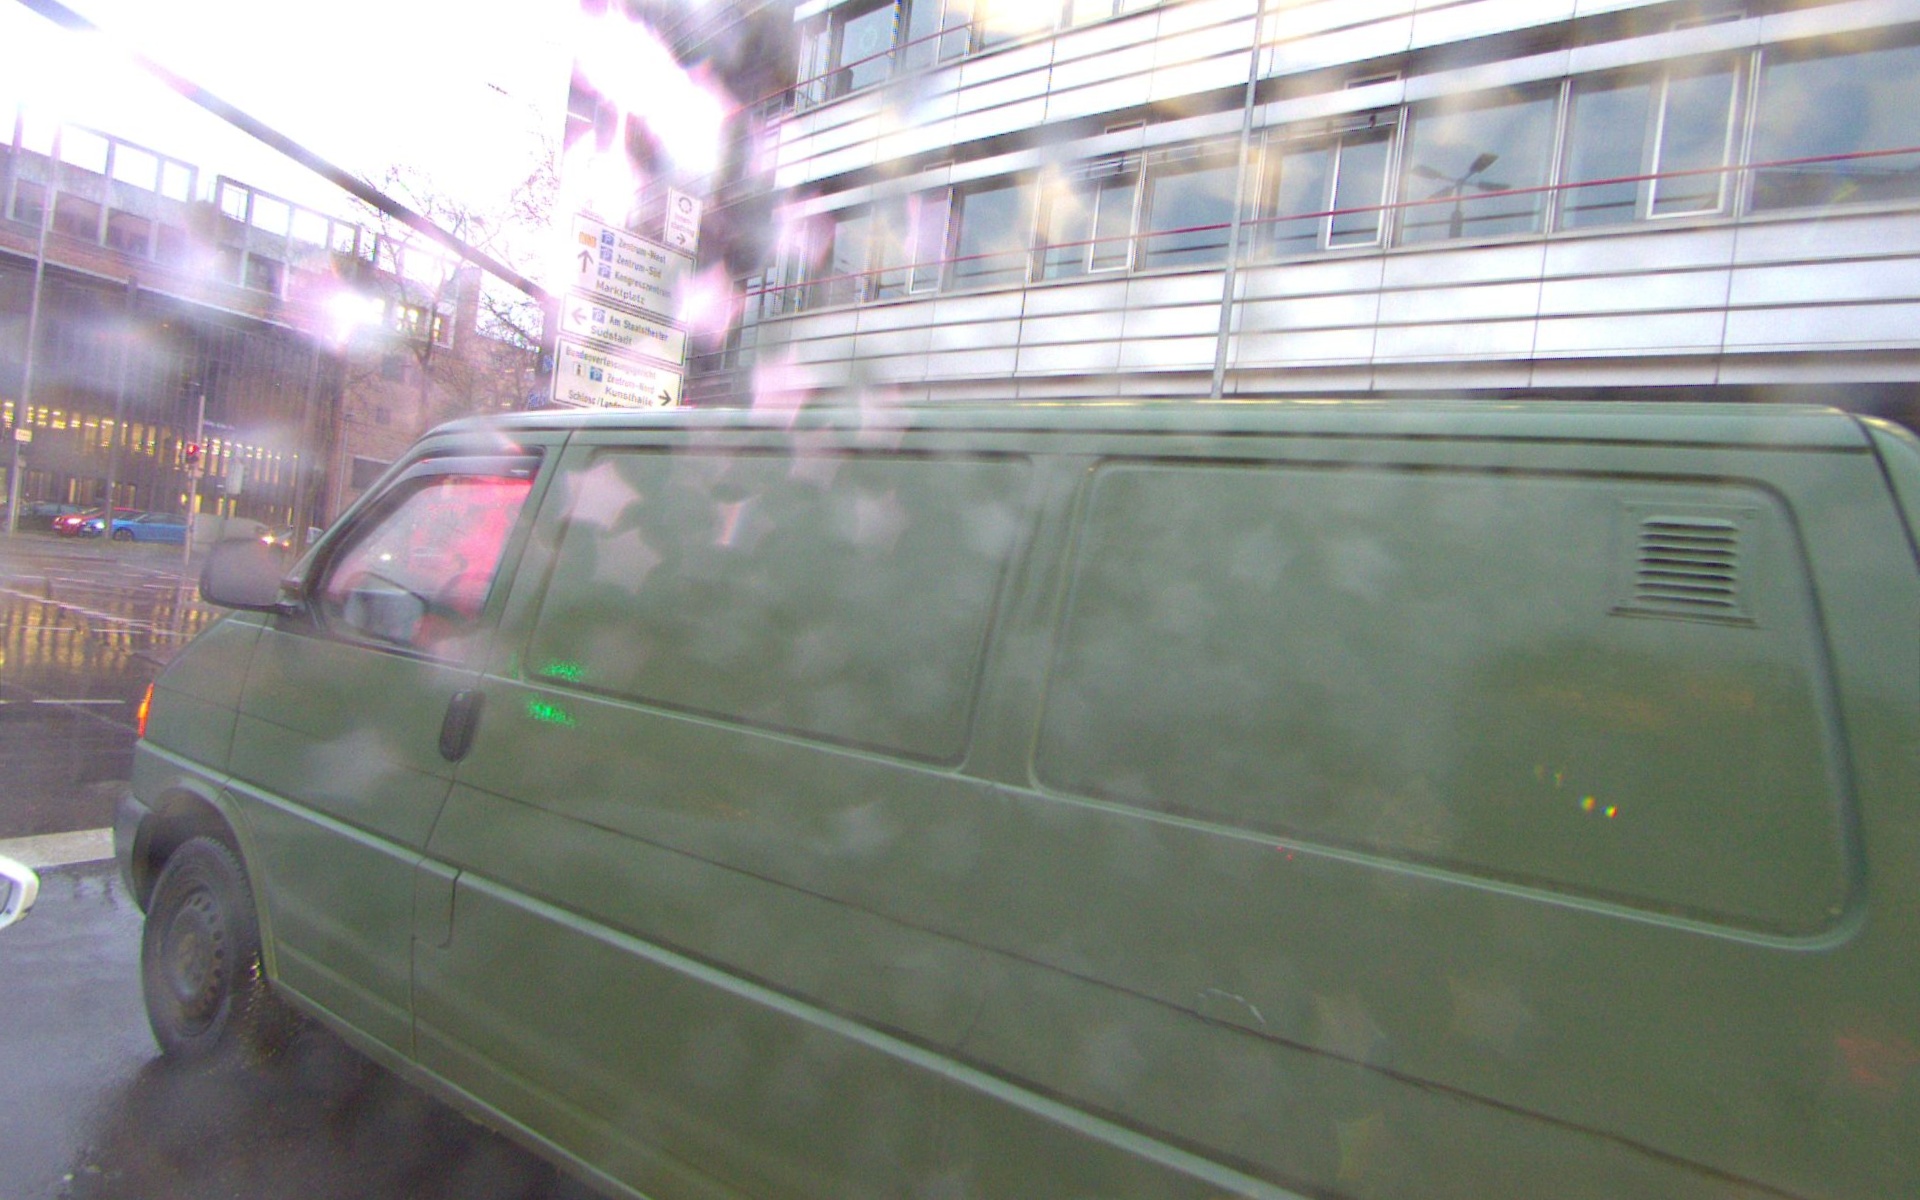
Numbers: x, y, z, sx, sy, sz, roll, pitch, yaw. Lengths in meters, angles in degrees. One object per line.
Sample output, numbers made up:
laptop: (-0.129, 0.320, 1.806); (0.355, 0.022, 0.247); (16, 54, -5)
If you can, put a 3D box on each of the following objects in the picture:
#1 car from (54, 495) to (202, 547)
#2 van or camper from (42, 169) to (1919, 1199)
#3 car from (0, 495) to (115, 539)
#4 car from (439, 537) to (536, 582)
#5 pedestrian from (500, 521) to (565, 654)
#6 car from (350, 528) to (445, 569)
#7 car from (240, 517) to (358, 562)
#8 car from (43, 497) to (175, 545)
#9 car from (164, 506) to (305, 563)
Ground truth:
car: (-32.519, -3.060, 39.438); (1.814, 1.278, 3.997); (11, 1, 26)
van or camper: (-0.400, 0.452, 2.685); (4.345, 1.929, 1.760); (7, -1, 32)
car: (-39.289, -3.596, 43.263); (1.965, 1.326, 3.994); (7, 0, 28)
car: (-23.643, -2.008, 50.463); (1.814, 1.621, 3.997); (11, 1, 26)
pedestrian: (-7.386, -0.214, 17.390); (0.609, 2.210, 0.576); (6, 0, 26)
car: (-30.248, -2.730, 54.186); (1.814, 1.523, 3.997); (11, 1, 26)
car: (-29.715, -2.687, 45.360); (1.814, 1.304, 3.997); (11, 1, 26)
car: (-35.562, -3.279, 42.156); (1.814, 1.278, 3.729); (11, 1, 26)
car: (-28.383, -2.535, 39.497); (1.814, 1.523, 3.997); (11, 1, 26)
